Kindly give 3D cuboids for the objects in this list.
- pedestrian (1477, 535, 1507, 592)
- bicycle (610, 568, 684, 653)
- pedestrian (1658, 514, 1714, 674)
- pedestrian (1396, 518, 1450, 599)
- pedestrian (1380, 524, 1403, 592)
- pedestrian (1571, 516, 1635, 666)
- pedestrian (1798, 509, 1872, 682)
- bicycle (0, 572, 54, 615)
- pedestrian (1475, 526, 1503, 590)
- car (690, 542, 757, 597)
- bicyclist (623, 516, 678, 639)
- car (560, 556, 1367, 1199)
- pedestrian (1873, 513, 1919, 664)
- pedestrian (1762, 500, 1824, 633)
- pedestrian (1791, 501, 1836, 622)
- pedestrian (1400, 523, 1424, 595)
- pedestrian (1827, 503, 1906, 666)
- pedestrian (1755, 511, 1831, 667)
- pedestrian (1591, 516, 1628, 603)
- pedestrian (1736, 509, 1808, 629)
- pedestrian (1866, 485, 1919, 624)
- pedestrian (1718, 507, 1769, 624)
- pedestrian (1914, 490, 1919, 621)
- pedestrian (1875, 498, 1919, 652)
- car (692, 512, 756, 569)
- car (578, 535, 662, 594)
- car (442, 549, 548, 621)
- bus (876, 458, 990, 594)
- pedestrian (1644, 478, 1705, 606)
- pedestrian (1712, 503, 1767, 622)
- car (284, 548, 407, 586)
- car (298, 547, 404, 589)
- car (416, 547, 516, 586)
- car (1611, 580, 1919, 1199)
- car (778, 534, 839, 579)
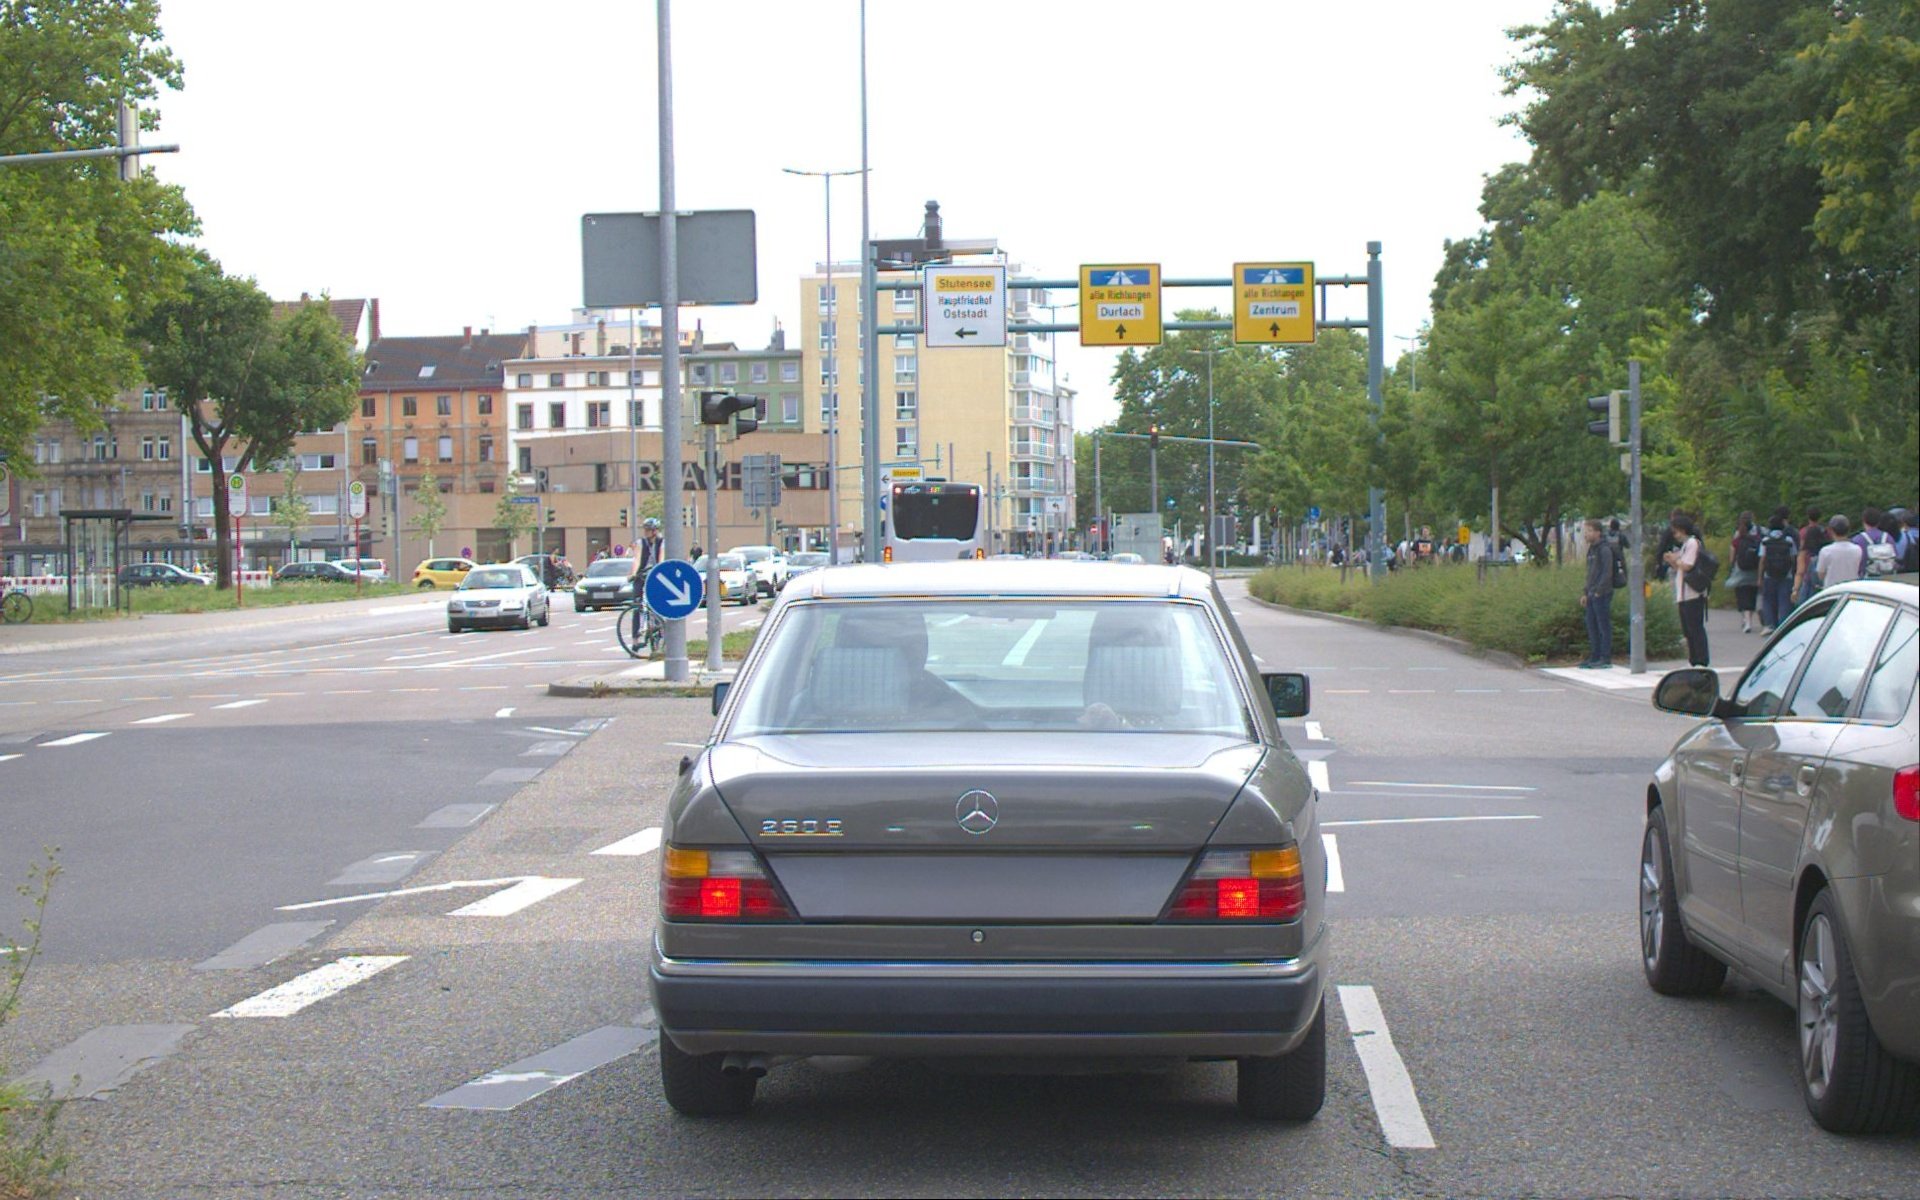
[{"bbox_3d":[13.771,-0.950,89.021,0.657,1.465,0.562,-1,1,0],"label":"pedestrian"},{"bbox_3d":[-4.008,0.123,44.117,0.573,1.052,1.926,0,1,6],"label":"bicycle"},{"bbox_3d":[7.917,-0.072,37.511,0.454,1.729,0.637,-1,1,0],"label":"pedestrian"},{"bbox_3d":[10.591,-0.955,78.649,0.935,1.824,0.885,-1,1,29],"label":"pedestrian"},{"bbox_3d":[12.760,-1.246,101.612,0.614,2.007,0.597,0,1,1],"label":"pedestrian"},{"bbox_3d":[7.504,-0.111,40.131,0.601,1.729,0.654,-1,1,0],"label":"pedestrian"},{"bbox_3d":[8.603,-0.049,33.806,0.545,1.681,0.637,-1,1,0],"label":"pedestrian"},{"bbox_3d":[-20.812,-0.147,76.235,0.470,0.915,2.338,0,1,9],"label":"bicycle"},{"bbox_3d":[14.294,-1.143,92.857,0.647,1.707,0.561,-1,1,17],"label":"pedestrian"},{"bbox_3d":[-6.560,-0.874,95.729,1.801,1.484,4.289,-1,1,-3],"label":"car"},{"bbox_3d":[-3.980,-0.295,44.263,0.572,1.568,0.699,0,1,6],"label":"bicyclist"},{"bbox_3d":[0.048,0.640,9.661,1.761,1.484,4.171,-1,1,1],"label":"car"},{"bbox_3d":[11.356,-0.149,40.894,0.656,1.760,0.958,-3,1,0],"label":"pedestrian"},{"bbox_3d":[11.551,-0.471,47.700,0.656,1.815,0.812,-1,1,2],"label":"pedestrian"},{"bbox_3d":[12.505,-0.563,50.390,0.484,1.757,0.664,-1,1,2],"label":"pedestrian"},{"bbox_3d":[12.684,-1.154,96.459,0.614,2.007,0.597,0,1,1],"label":"pedestrian"},{"bbox_3d":[9.816,-0.170,37.241,0.624,1.739,0.780,-1,1,0],"label":"pedestrian"},{"bbox_3d":[9.445,-0.133,39.001,0.656,1.739,0.780,-1,1,0],"label":"pedestrian"},{"bbox_3d":[12.679,-0.792,67.128,0.587,1.677,0.748,-1,1,2],"label":"pedestrian"},{"bbox_3d":[10.974,-0.417,46.467,0.775,1.597,0.812,-1,1,2],"label":"pedestrian"},{"bbox_3d":[11.622,-0.566,42.394,0.656,1.683,0.842,-1,1,0],"label":"pedestrian"},{"bbox_3d":[11.152,-0.491,48.917,0.555,1.649,0.753,-1,1,2],"label":"pedestrian"},{"bbox_3d":[12.479,-0.564,43.262,0.656,1.661,0.971,-1,1,0],"label":"pedestrian"},{"bbox_3d":[10.867,-0.288,39.314,0.581,1.739,0.790,-1,1,0],"label":"pedestrian"},{"bbox_3d":[-8.480,-2.126,123.829,1.941,2.007,4.000,-1,1,1],"label":"car"},{"bbox_3d":[-9.591,-1.013,97.197,1.897,1.610,4.744,-1,1,0],"label":"car"},{"bbox_3d":[-10.183,-0.349,75.473,1.761,1.484,4.546,-1,1,-1],"label":"car"},{"bbox_3d":[-0.680,-1.927,90.089,2.831,3.379,8.183,-1,1,0],"label":"bus"},{"bbox_3d":[10.274,-0.834,49.464,0.693,1.815,0.954,-1,1,2],"label":"pedestrian"},{"bbox_3d":[11.513,-0.561,50.788,0.619,1.729,0.814,-1,1,2],"label":"pedestrian"},{"bbox_3d":[-24.688,-1.331,138.247,4.668,1.470,1.661,1,1,-3],"label":"car"},{"bbox_3d":[-25.191,-1.318,142.240,4.153,1.643,1.647,-1,1,-4],"label":"car"},{"bbox_3d":[-19.873,-1.367,138.366,3.856,1.512,1.661,1,1,-3],"label":"car"},{"bbox_3d":[3.024,0.694,9.844,1.724,1.452,3.736,-1,1,2],"label":"car"},{"bbox_3d":[-5.143,-1.488,117.196,1.801,1.506,4.104,-1,1,1],"label":"car"}]
